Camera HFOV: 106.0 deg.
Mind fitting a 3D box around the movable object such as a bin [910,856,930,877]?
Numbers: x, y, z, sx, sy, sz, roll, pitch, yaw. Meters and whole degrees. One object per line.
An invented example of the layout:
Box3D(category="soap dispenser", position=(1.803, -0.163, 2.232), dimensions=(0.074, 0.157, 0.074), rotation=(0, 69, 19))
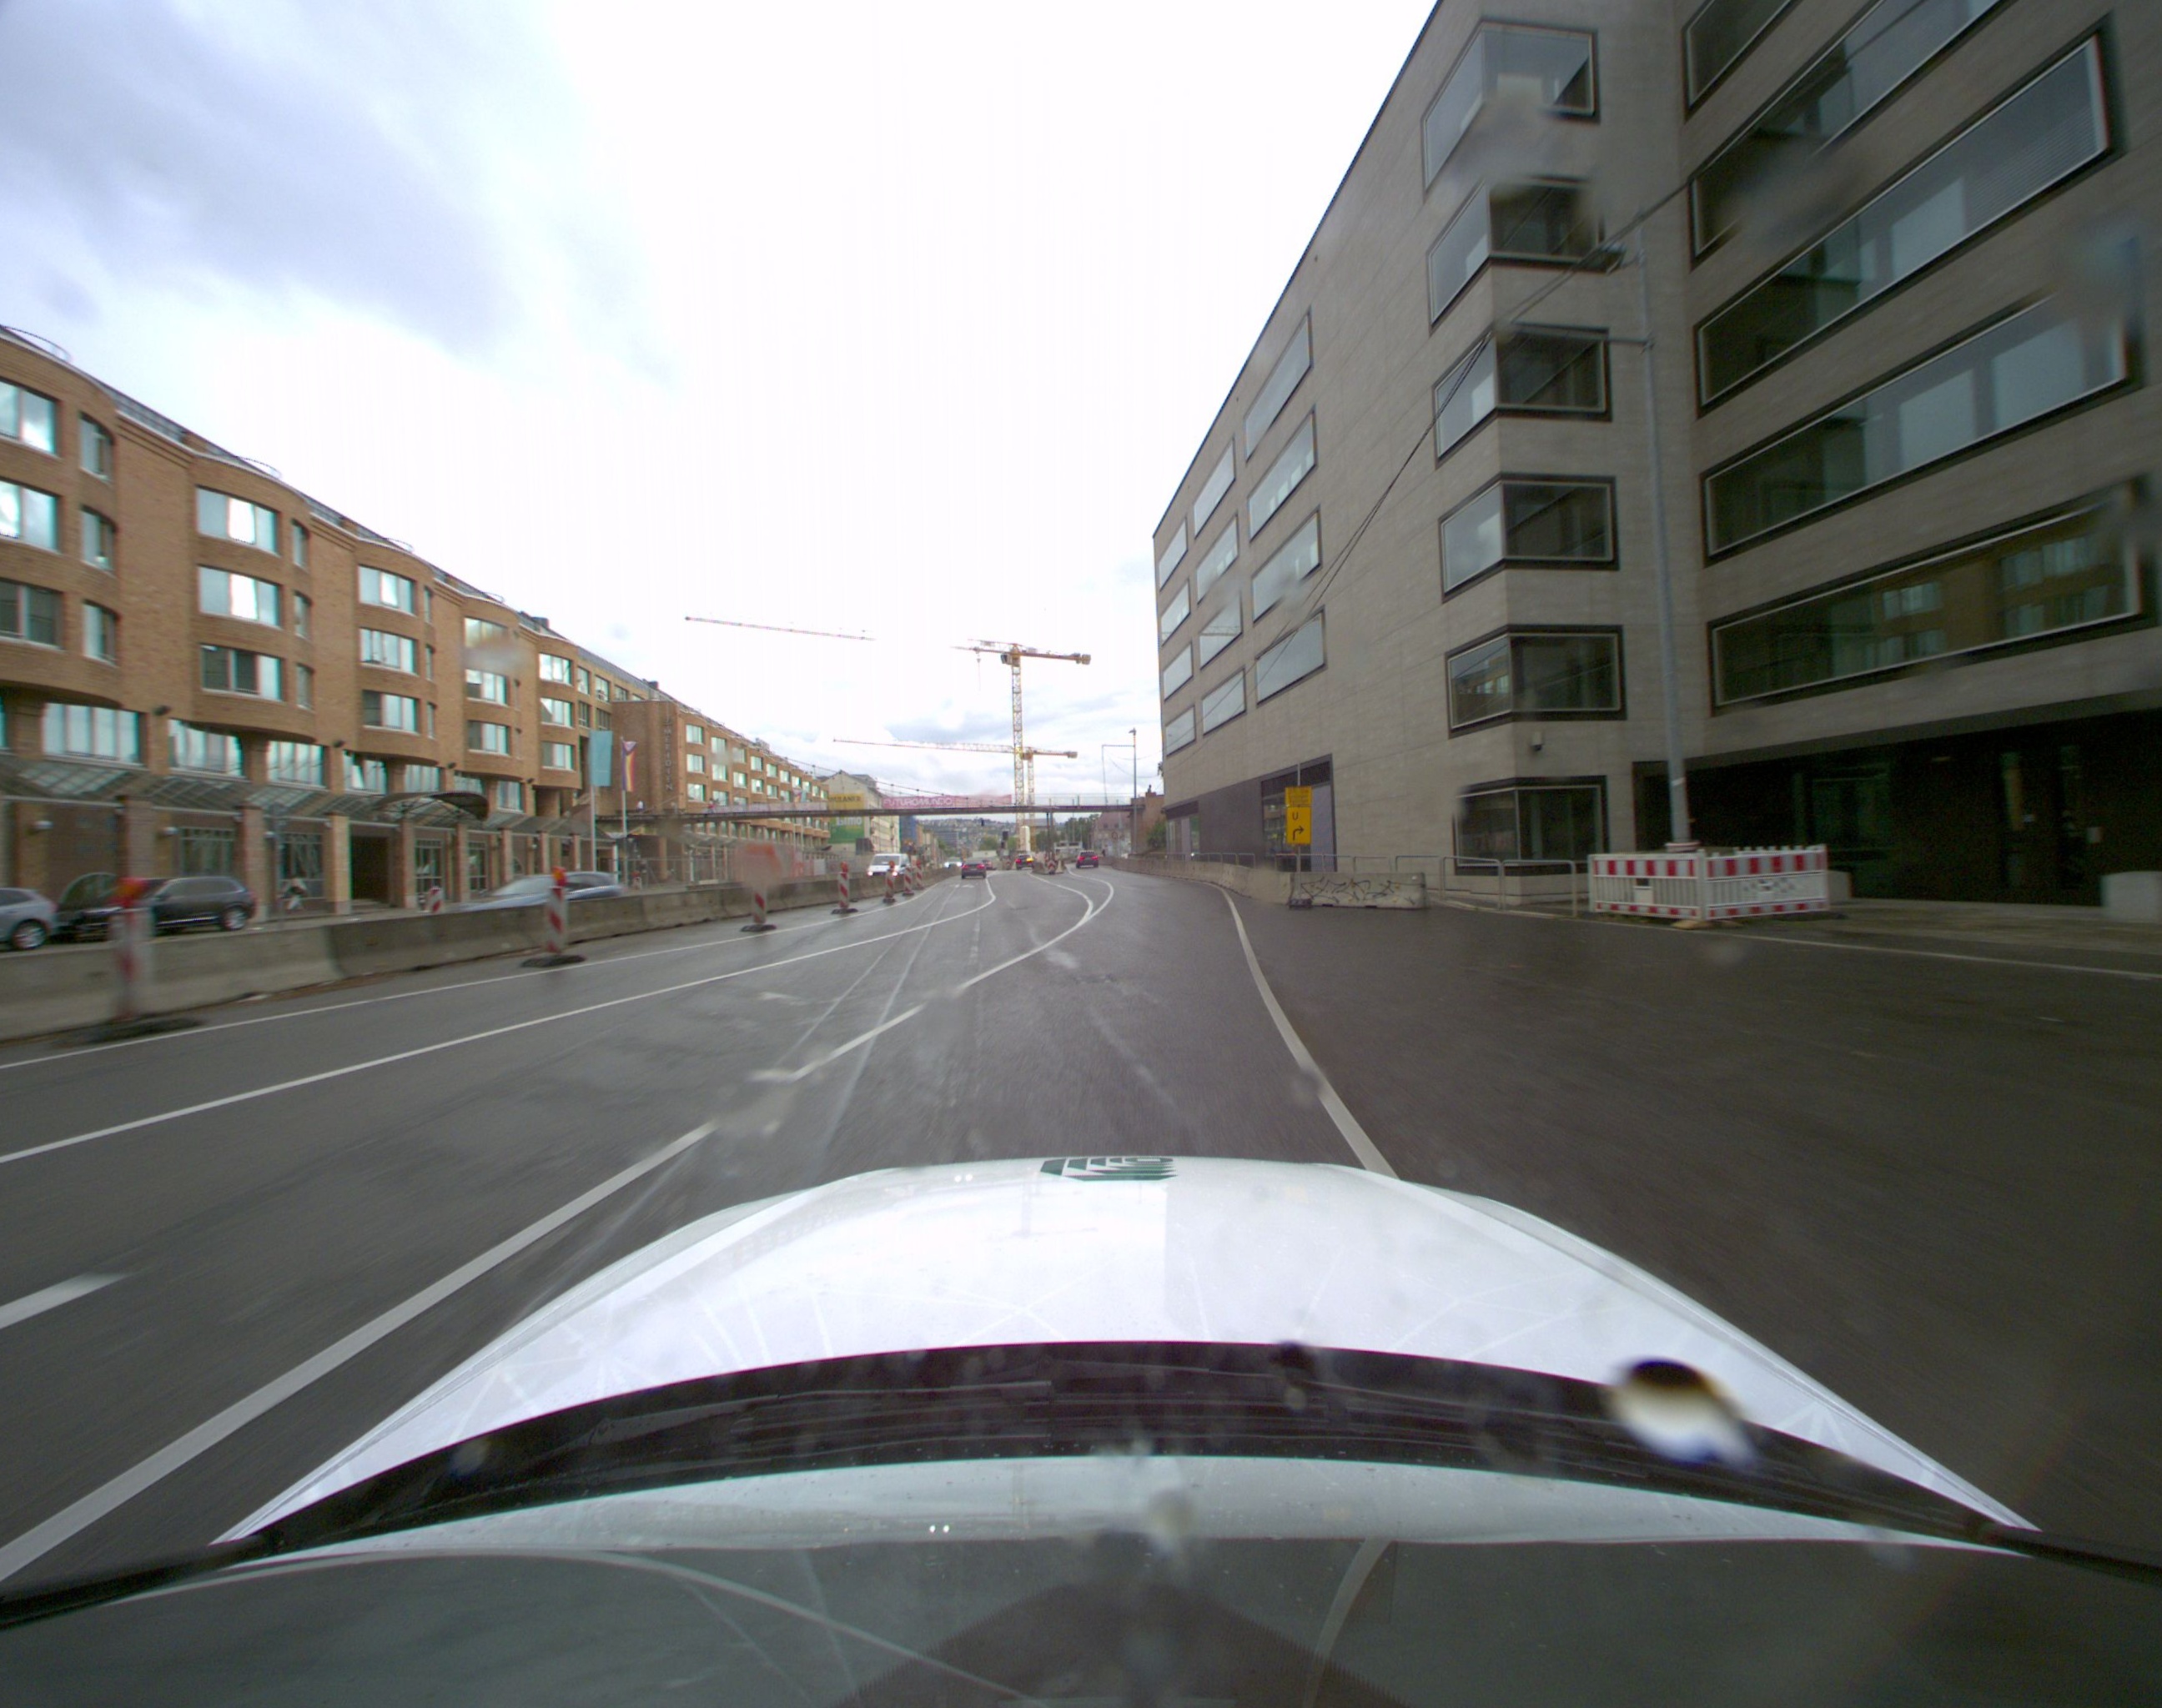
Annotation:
Box3D(category="movable object such as a bin", position=(-19.515, 1.470, 99.048), dimensions=(2.027, 2.277, 4.279), rotation=(-6, 0, -9))

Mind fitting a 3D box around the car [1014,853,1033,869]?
Box3D(category="car", position=(-6.103, 0.710, 86.608), dimensions=(1.860, 1.660, 4.648), rotation=(-2, 0, -5))

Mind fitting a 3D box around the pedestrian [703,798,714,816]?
Box3D(category="pedestrian", position=(-31.430, -3.970, 68.753), dimensions=(0.619, 1.452, 0.617), rotation=(-3, 0, -3))

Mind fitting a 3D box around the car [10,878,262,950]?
Box3D(category="car", position=(-28.021, 1.686, 24.503), dimensions=(1.991, 1.690, 5.038), rotation=(-2, 0, -7))

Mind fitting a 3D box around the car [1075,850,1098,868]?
Box3D(category="car", position=(0.520, 0.442, 70.040), dimensions=(1.856, 1.433, 4.658), rotation=(-2, 0, 1))

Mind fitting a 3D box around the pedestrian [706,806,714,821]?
Box3D(category="pedestrian", position=(-31.330, -3.431, 68.771), dimensions=(0.474, 1.194, 0.483), rotation=(-3, 0, -3))

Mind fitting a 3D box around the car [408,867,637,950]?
Box3D(category="car", position=(-11.969, 1.091, 17.889), dimensions=(1.986, 1.459, 4.229), rotation=(-2, 0, 1))

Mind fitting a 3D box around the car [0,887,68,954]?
Box3D(category="car", position=(-27.323, 1.686, 19.018), dimensions=(1.993, 1.594, 4.526), rotation=(-2, 0, -9))

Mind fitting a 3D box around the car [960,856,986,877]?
Box3D(category="car", position=(-8.097, 0.938, 60.994), dimensions=(1.862, 1.443, 4.643), rotation=(-2, 0, -8))

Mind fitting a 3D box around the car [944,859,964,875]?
Box3D(category="car", position=(-14.780, 1.507, 94.846), dimensions=(1.991, 1.623, 4.692), rotation=(-3, 1, -6))

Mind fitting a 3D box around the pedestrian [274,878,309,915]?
Box3D(category="pedestrian", position=(-32.323, 1.725, 33.356), dimensions=(0.615, 1.452, 0.735), rotation=(-3, 0, -4))

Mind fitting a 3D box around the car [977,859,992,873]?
Box3D(category="car", position=(-13.087, 1.546, 110.351), dimensions=(1.862, 1.765, 4.643), rotation=(-2, 0, -8))

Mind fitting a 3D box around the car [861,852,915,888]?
Box3D(category="car", position=(-11.010, 0.854, 46.750), dimensions=(1.988, 1.885, 4.867), rotation=(-2, 0, -1))
